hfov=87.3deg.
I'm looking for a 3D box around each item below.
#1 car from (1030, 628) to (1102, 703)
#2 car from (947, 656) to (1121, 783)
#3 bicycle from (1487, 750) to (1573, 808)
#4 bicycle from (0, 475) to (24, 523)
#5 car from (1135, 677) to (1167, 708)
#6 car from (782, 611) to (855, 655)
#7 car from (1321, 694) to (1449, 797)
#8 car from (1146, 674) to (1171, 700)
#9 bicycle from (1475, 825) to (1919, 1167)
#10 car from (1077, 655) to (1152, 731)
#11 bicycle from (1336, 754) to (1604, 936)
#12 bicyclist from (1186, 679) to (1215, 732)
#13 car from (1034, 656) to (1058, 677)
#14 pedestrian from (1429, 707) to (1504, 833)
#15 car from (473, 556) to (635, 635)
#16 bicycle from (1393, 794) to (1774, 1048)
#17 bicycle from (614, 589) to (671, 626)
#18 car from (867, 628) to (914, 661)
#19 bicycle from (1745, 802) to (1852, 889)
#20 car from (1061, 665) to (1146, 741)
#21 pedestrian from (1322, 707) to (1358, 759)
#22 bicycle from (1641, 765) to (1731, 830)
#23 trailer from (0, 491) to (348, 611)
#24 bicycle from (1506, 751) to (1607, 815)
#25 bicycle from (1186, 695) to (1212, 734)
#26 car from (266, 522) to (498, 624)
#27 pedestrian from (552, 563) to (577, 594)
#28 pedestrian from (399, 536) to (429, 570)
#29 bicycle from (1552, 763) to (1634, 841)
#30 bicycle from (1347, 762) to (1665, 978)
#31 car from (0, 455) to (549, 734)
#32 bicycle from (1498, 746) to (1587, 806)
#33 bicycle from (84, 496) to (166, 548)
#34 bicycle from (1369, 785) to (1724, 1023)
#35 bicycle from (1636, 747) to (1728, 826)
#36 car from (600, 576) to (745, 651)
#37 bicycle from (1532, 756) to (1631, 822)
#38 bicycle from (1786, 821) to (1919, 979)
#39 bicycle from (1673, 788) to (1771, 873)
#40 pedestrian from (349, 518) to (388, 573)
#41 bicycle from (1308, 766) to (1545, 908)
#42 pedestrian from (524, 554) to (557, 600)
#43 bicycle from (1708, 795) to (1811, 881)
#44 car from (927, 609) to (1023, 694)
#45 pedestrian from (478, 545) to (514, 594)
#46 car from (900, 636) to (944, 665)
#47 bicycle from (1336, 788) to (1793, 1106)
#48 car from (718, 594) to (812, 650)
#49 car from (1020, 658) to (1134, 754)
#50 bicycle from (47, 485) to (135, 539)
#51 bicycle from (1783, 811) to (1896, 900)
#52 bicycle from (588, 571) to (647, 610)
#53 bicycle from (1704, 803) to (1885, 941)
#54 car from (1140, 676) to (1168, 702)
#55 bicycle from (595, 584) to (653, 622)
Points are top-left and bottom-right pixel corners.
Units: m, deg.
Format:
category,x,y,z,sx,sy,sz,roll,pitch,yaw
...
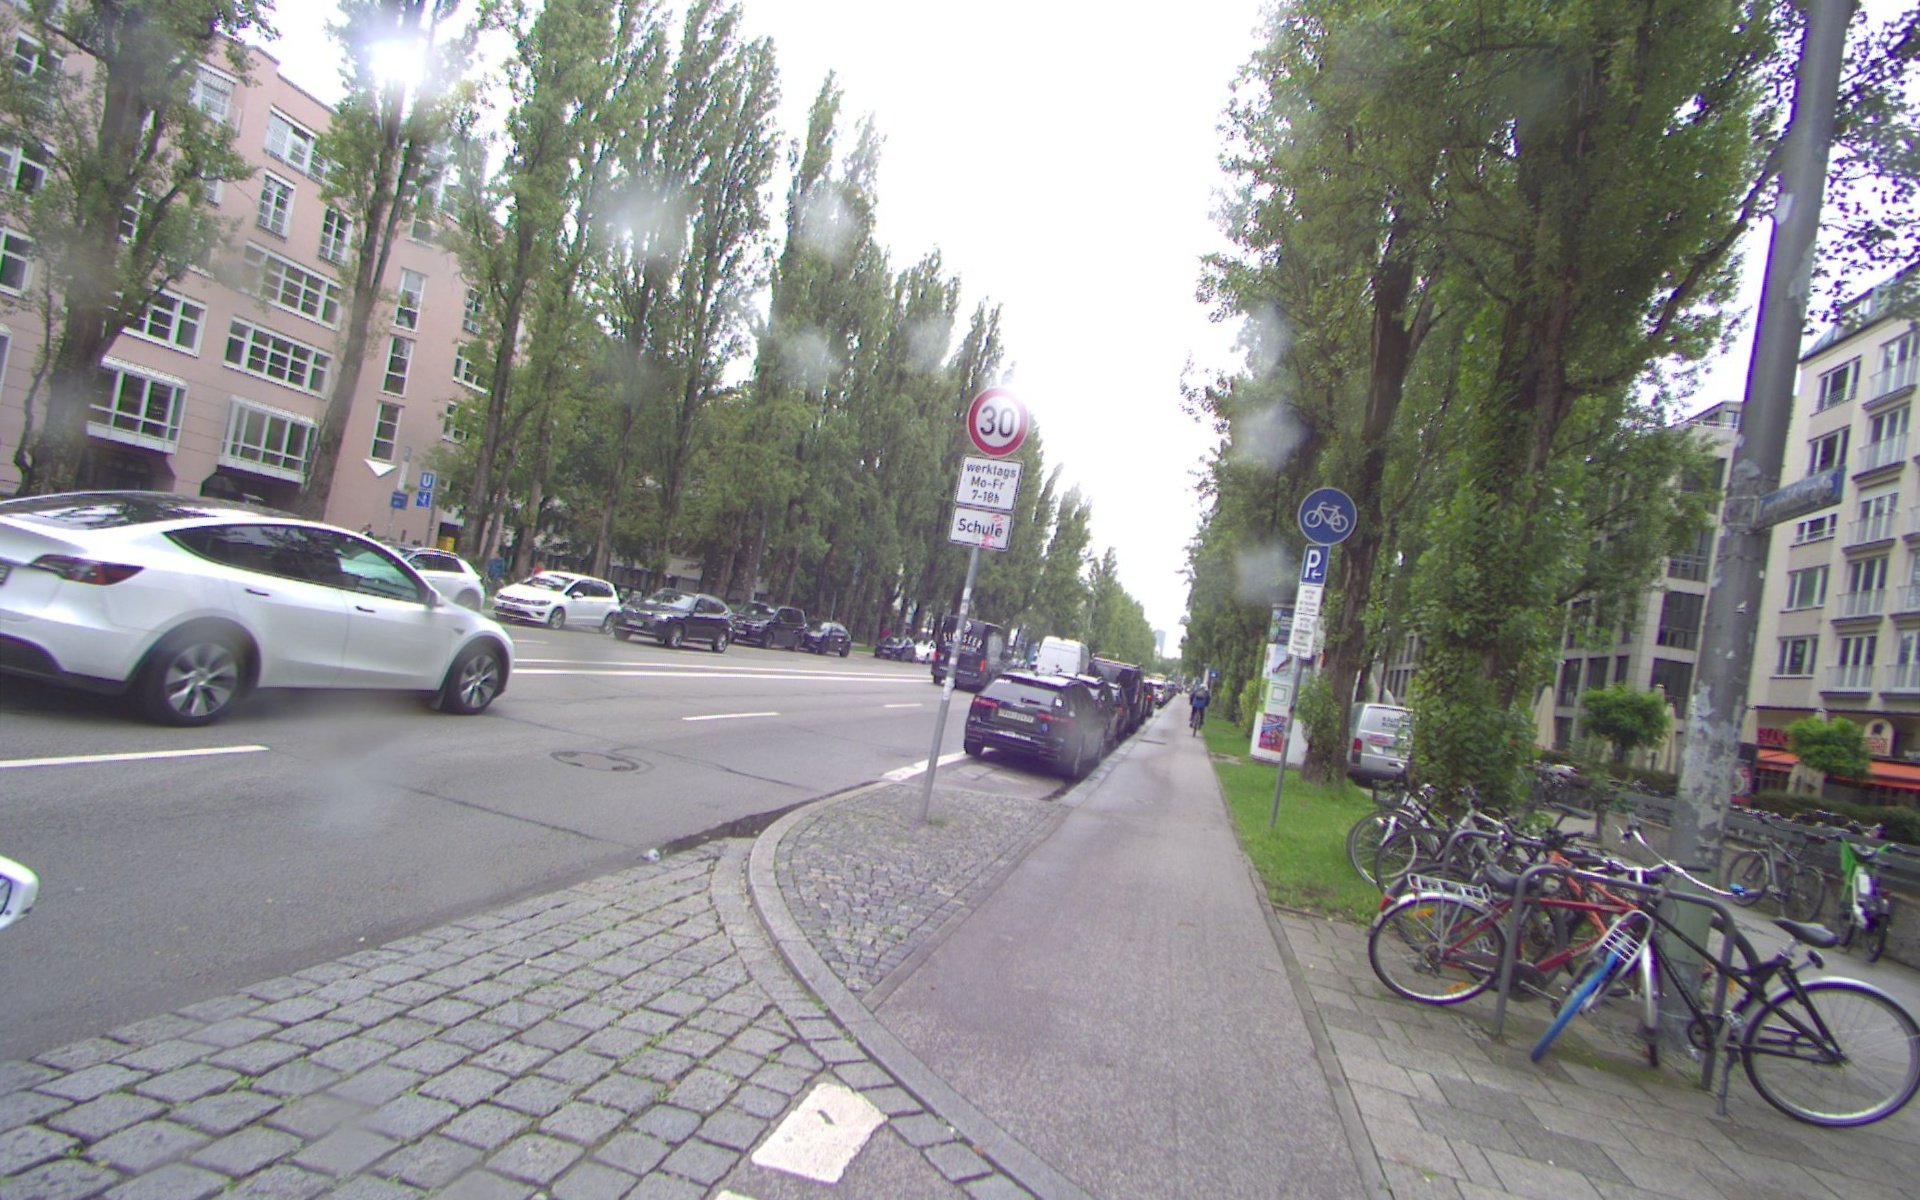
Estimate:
category,x,y,z,sx,sy,sz,roll,pitch,yaw
car,4.742,2.904,44.233,2.008,2.680,6.051,11,-1,13
car,1.370,1.892,16.381,1.724,1.442,4.456,11,-2,17
bicycle,15.748,4.937,27.832,1.834,1.172,0.589,10,-1,15
bicycle,-25.300,-2.747,25.899,1.951,1.137,0.677,10,-1,14
car,12.547,6.036,66.038,1.716,1.660,3.958,11,-2,12
car,-6.730,1.625,48.225,1.962,1.624,4.360,10,-2,11
car,10.277,3.446,24.734,1.780,1.916,5.214,10,-3,14
car,16.934,7.416,85.791,1.716,1.806,3.958,11,-2,12
bicycle,3.476,1.764,4.574,1.841,1.062,0.476,10,-1,8
car,5.127,2.993,32.840,1.881,1.944,5.048,11,-2,12
bicycle,4.165,1.985,8.352,1.799,1.050,0.514,9,-1,18
bicyclist,8.005,3.487,33.449,0.710,1.638,0.757,8,-1,13
car,10.438,8.050,121.865,1.962,2.143,5.005,10,-1,13
pedestrian,8.658,2.874,17.225,0.702,1.950,0.906,9,-1,14
car,-11.329,-0.055,28.472,1.962,1.558,4.332,10,-2,13
bicycle,3.786,1.933,6.246,1.841,1.062,0.476,9,-1,14
bicycle,-12.824,0.301,40.639,1.951,1.137,0.677,10,-1,14
car,-4.179,2.720,61.434,1.912,1.597,3.613,10,-1,9
bicycle,14.981,4.359,18.038,0.577,1.172,1.872,10,-2,14
car,3.919,2.706,26.931,1.716,1.543,4.242,11,-2,13
pedestrian,14.471,5.044,38.329,0.894,1.771,0.862,10,-1,14
bicycle,17.281,4.681,24.002,0.577,1.172,1.870,10,-2,-1
trailer,-13.933,-0.825,17.094,2.359,1.212,6.048,10,-2,14
bicycle,15.129,4.628,25.558,1.994,1.173,0.588,10,-1,15
bicycle,8.007,3.835,33.681,0.705,1.160,1.904,6,-4,15
car,-12.469,-0.500,22.069,1.772,1.559,4.240,8,-2,15
pedestrian,-24.050,-1.310,61.167,0.802,1.680,0.898,10,-1,14
pedestrian,-29.664,-2.546,54.671,0.802,1.680,0.898,10,-1,14
bicycle,12.115,3.840,19.318,0.577,1.172,1.988,10,-2,14
bicycle,4.014,1.969,7.525,1.894,1.117,0.514,9,-1,13
car,-5.935,0.025,8.593,1.963,1.592,4.646,11,-2,13
bicycle,15.708,4.750,27.183,1.834,1.173,0.588,10,0,15
bicycle,-24.360,-2.272,29.346,1.951,1.137,0.677,10,-1,14
bicycle,3.783,1.948,6.625,1.841,1.062,0.476,9,-1,14
bicycle,13.281,3.406,18.574,0.577,1.172,1.872,10,-2,14
car,-8.345,0.484,29.733,1.962,1.661,4.558,9,-2,13
bicycle,15.264,4.639,24.758,1.834,1.173,0.588,10,-1,15
bicycle,9.010,2.938,10.037,0.577,1.172,1.871,9,-2,25
bicycle,13.821,4.159,18.313,0.577,1.172,1.872,10,-2,14
pedestrian,-18.968,-1.756,32.260,0.549,1.622,0.658,9,-1,33
bicycle,4.153,2.100,9.082,1.799,0.827,0.472,9,-1,18
pedestrian,-17.069,-0.934,40.927,0.696,1.732,0.733,10,-1,14
bicycle,14.403,4.261,18.184,0.577,1.172,1.872,10,-2,14
car,0.698,1.991,37.859,2.044,2.583,5.941,11,-2,13
pedestrian,-17.859,-1.166,38.698,0.696,1.732,0.733,10,-1,14
car,-2.485,3.368,67.023,1.734,1.597,3.977,10,-1,13
bicycle,3.040,1.730,5.231,1.841,1.062,0.476,10,-1,14
car,-8.175,1.001,42.771,1.962,1.816,4.769,10,-2,13
car,2.597,2.231,21.569,1.716,1.543,3.915,11,-2,14
bicycle,-24.474,-2.478,28.325,2.067,1.137,0.677,10,-1,14
bicycle,15.573,4.496,17.883,0.577,1.172,1.872,10,-2,14
bicycle,-13.263,-0.374,38.950,1.951,1.137,0.677,10,-1,14
bicycle,10.026,3.225,12.192,0.577,1.172,1.872,10,-2,5
car,14.227,6.534,73.923,1.716,1.562,3.958,11,-2,12
bicycle,-13.261,0.127,39.712,1.951,1.137,0.677,10,-1,14
